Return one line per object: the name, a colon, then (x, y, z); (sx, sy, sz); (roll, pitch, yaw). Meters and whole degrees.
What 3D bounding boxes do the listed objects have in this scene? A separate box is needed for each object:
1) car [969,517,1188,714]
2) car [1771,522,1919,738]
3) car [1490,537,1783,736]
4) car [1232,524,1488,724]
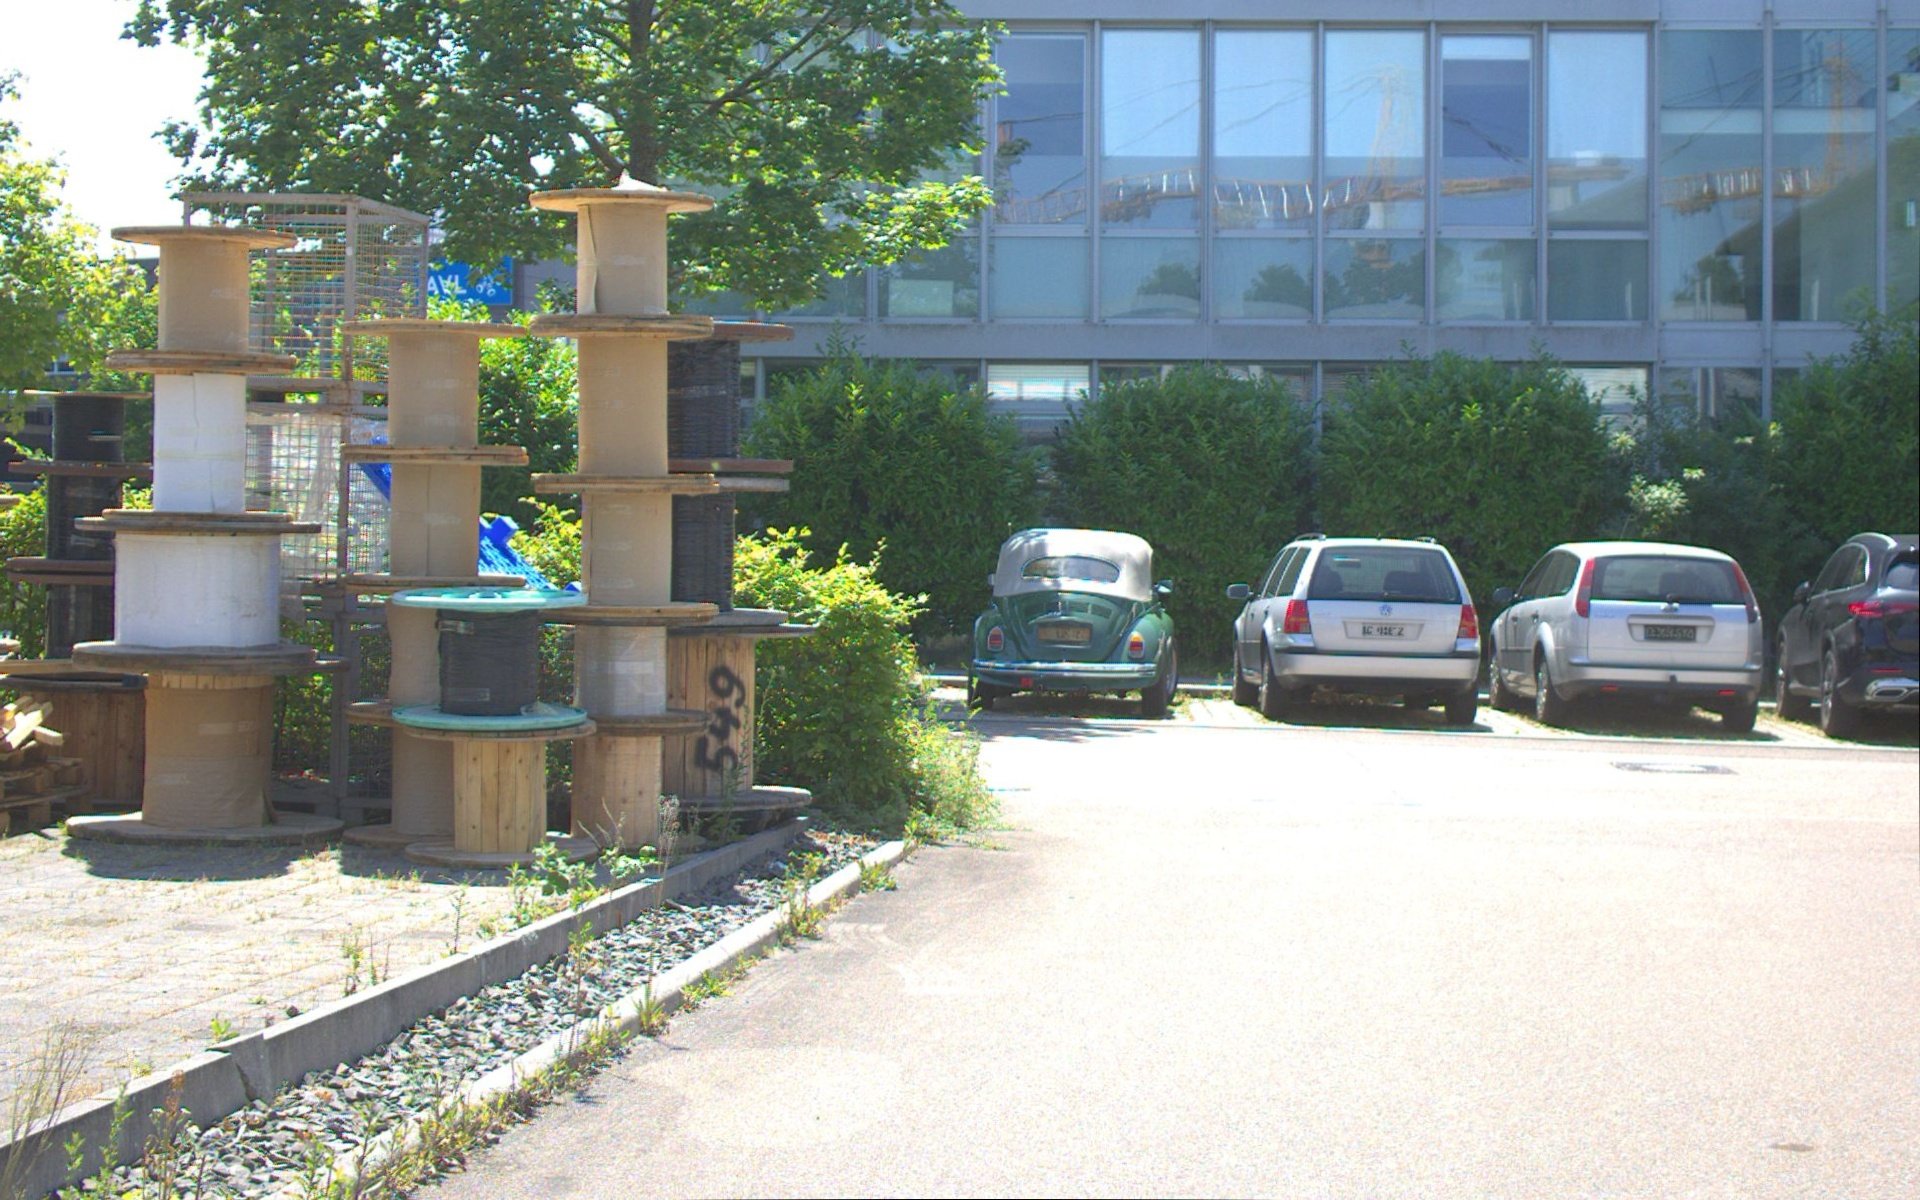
car: (1.034, 0.076, 28.354); (1.542, 1.444, 3.653); (2, 2, 5)
car: (7.914, 0.207, 28.121); (1.927, 1.605, 3.986); (2, 2, 6)
car: (5.569, 0.252, 28.695); (1.765, 1.444, 3.654); (2, 2, 2)
car: (3.225, 0.145, 28.342); (1.732, 1.444, 3.654); (2, 2, 2)
